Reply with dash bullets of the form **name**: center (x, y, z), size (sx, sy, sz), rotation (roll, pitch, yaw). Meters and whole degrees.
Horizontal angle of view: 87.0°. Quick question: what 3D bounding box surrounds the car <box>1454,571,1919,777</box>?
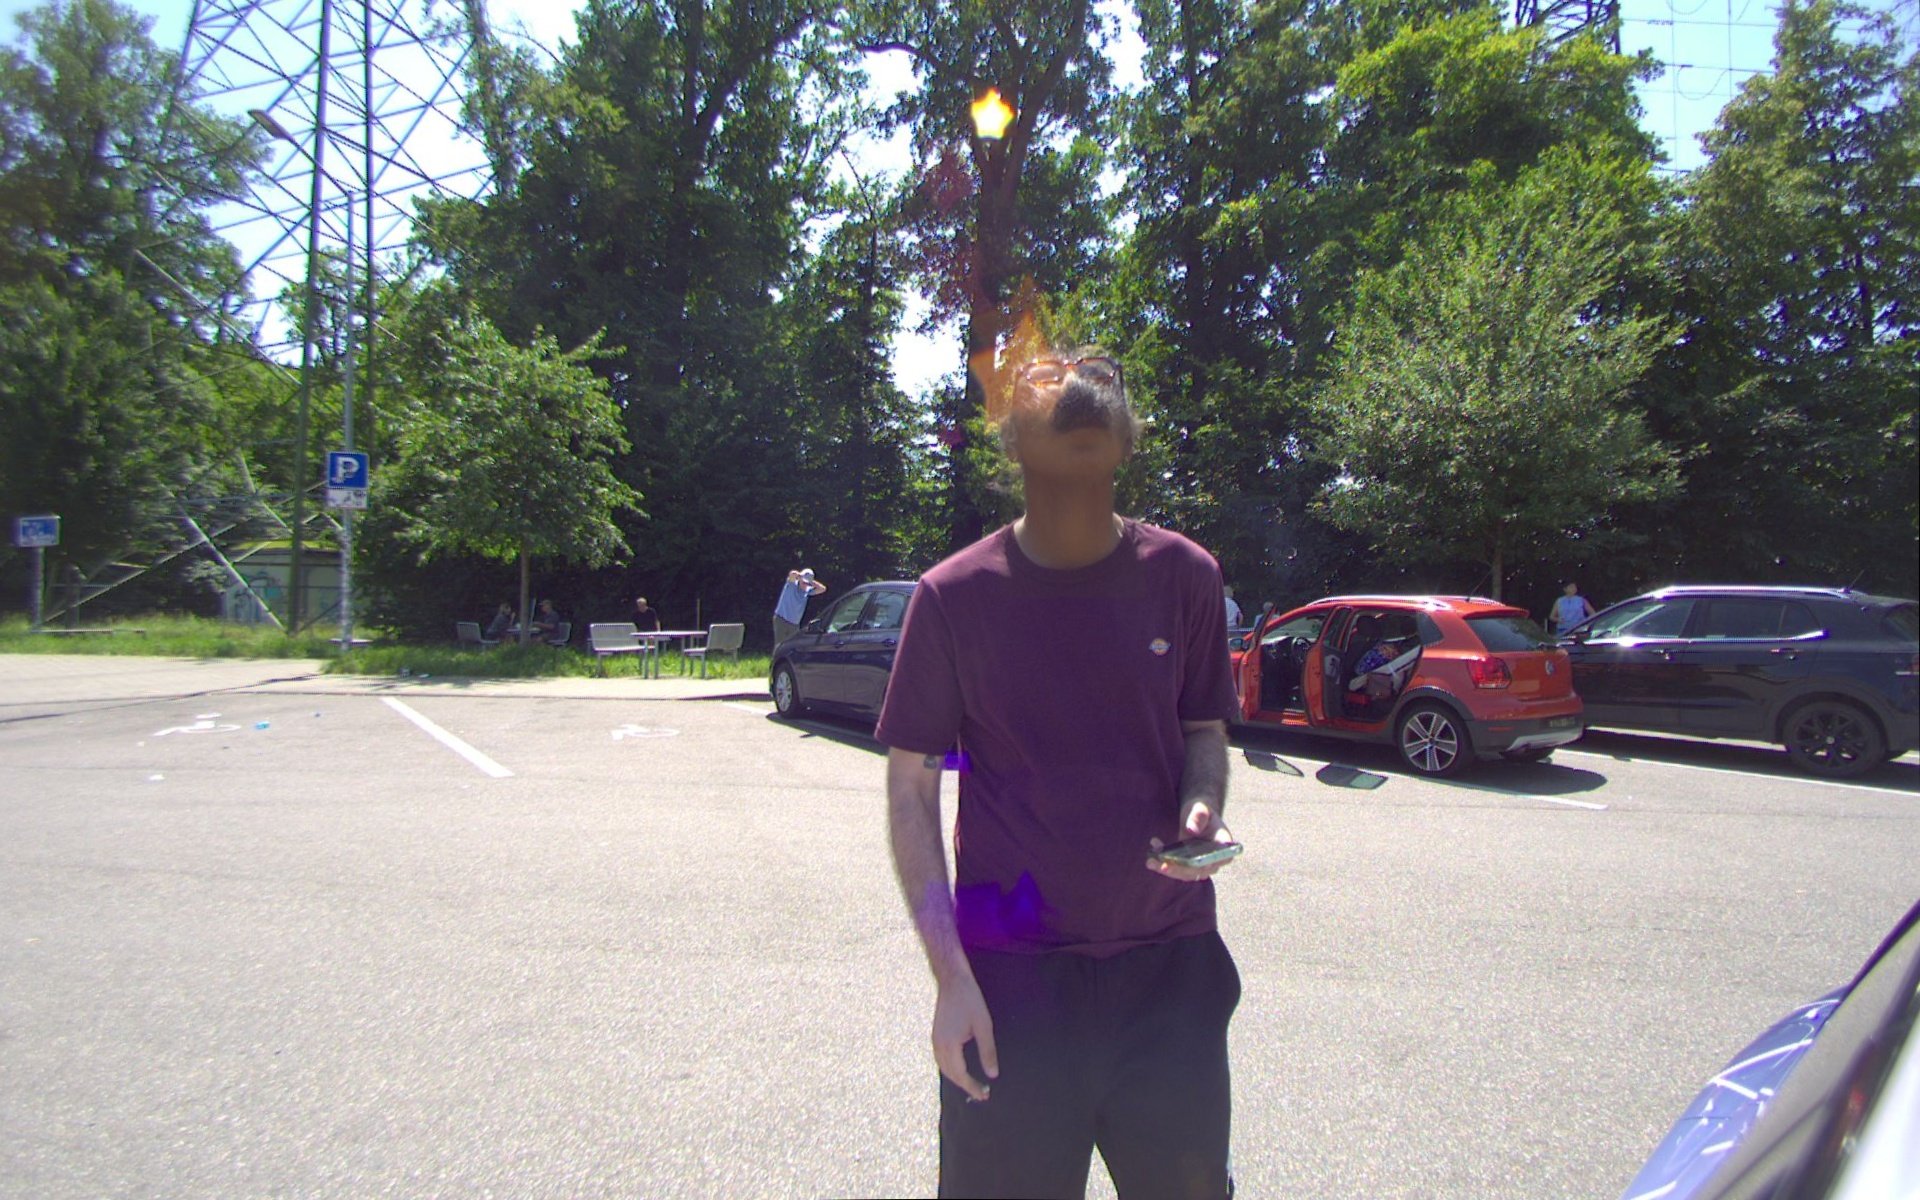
- **car**: center (7.207, 0.578, 9.831), size (1.807, 1.612, 3.967), rotation (1, 0, -38)

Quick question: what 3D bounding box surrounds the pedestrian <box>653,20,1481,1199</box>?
- **pedestrian**: center (0.175, 0.390, 1.504), size (0.828, 1.797, 0.926), rotation (0, -1, 45)

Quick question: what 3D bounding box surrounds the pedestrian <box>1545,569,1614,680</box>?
- **pedestrian**: center (9.351, 0.361, 15.285), size (0.796, 1.614, 0.713), rotation (1, -1, -44)

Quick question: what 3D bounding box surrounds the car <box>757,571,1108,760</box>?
- **car**: center (-0.485, 0.546, 10.692), size (1.809, 1.588, 4.017), rotation (1, 0, -35)

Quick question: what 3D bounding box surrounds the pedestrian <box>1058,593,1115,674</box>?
- **pedestrian**: center (2.105, 0.547, 16.923), size (0.656, 1.311, 0.832), rotation (1, -1, -17)

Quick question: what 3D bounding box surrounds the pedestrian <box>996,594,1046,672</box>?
- **pedestrian**: center (1.031, 0.552, 17.210), size (0.656, 1.285, 0.655), rotation (1, -1, -17)

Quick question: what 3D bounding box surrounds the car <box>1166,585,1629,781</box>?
- **car**: center (3.926, 0.623, 9.644), size (1.746, 1.475, 3.710), rotation (1, 0, -33)

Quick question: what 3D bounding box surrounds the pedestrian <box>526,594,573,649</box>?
- **pedestrian**: center (-9.597, 0.501, 23.669), size (0.796, 1.253, 0.713), rotation (1, -1, -44)

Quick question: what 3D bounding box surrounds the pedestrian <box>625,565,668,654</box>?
- **pedestrian**: center (-6.620, 0.198, 21.412), size (0.701, 1.851, 0.906), rotation (1, -1, -8)

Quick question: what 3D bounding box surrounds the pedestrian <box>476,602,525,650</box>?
- **pedestrian**: center (-10.374, 0.578, 22.846), size (0.796, 1.062, 0.714), rotation (1, -1, -43)

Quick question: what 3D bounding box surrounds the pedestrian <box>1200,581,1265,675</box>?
- **pedestrian**: center (4.830, 0.482, 17.955), size (0.761, 1.614, 0.809), rotation (1, -1, -35)

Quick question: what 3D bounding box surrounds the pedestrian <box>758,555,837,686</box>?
- **pedestrian**: center (-2.295, 0.279, 14.274), size (0.786, 1.784, 0.809), rotation (1, -1, -39)

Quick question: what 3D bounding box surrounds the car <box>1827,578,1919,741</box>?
- **car**: center (10.901, 0.602, 9.422), size (1.745, 1.612, 3.972), rotation (1, 0, -32)
